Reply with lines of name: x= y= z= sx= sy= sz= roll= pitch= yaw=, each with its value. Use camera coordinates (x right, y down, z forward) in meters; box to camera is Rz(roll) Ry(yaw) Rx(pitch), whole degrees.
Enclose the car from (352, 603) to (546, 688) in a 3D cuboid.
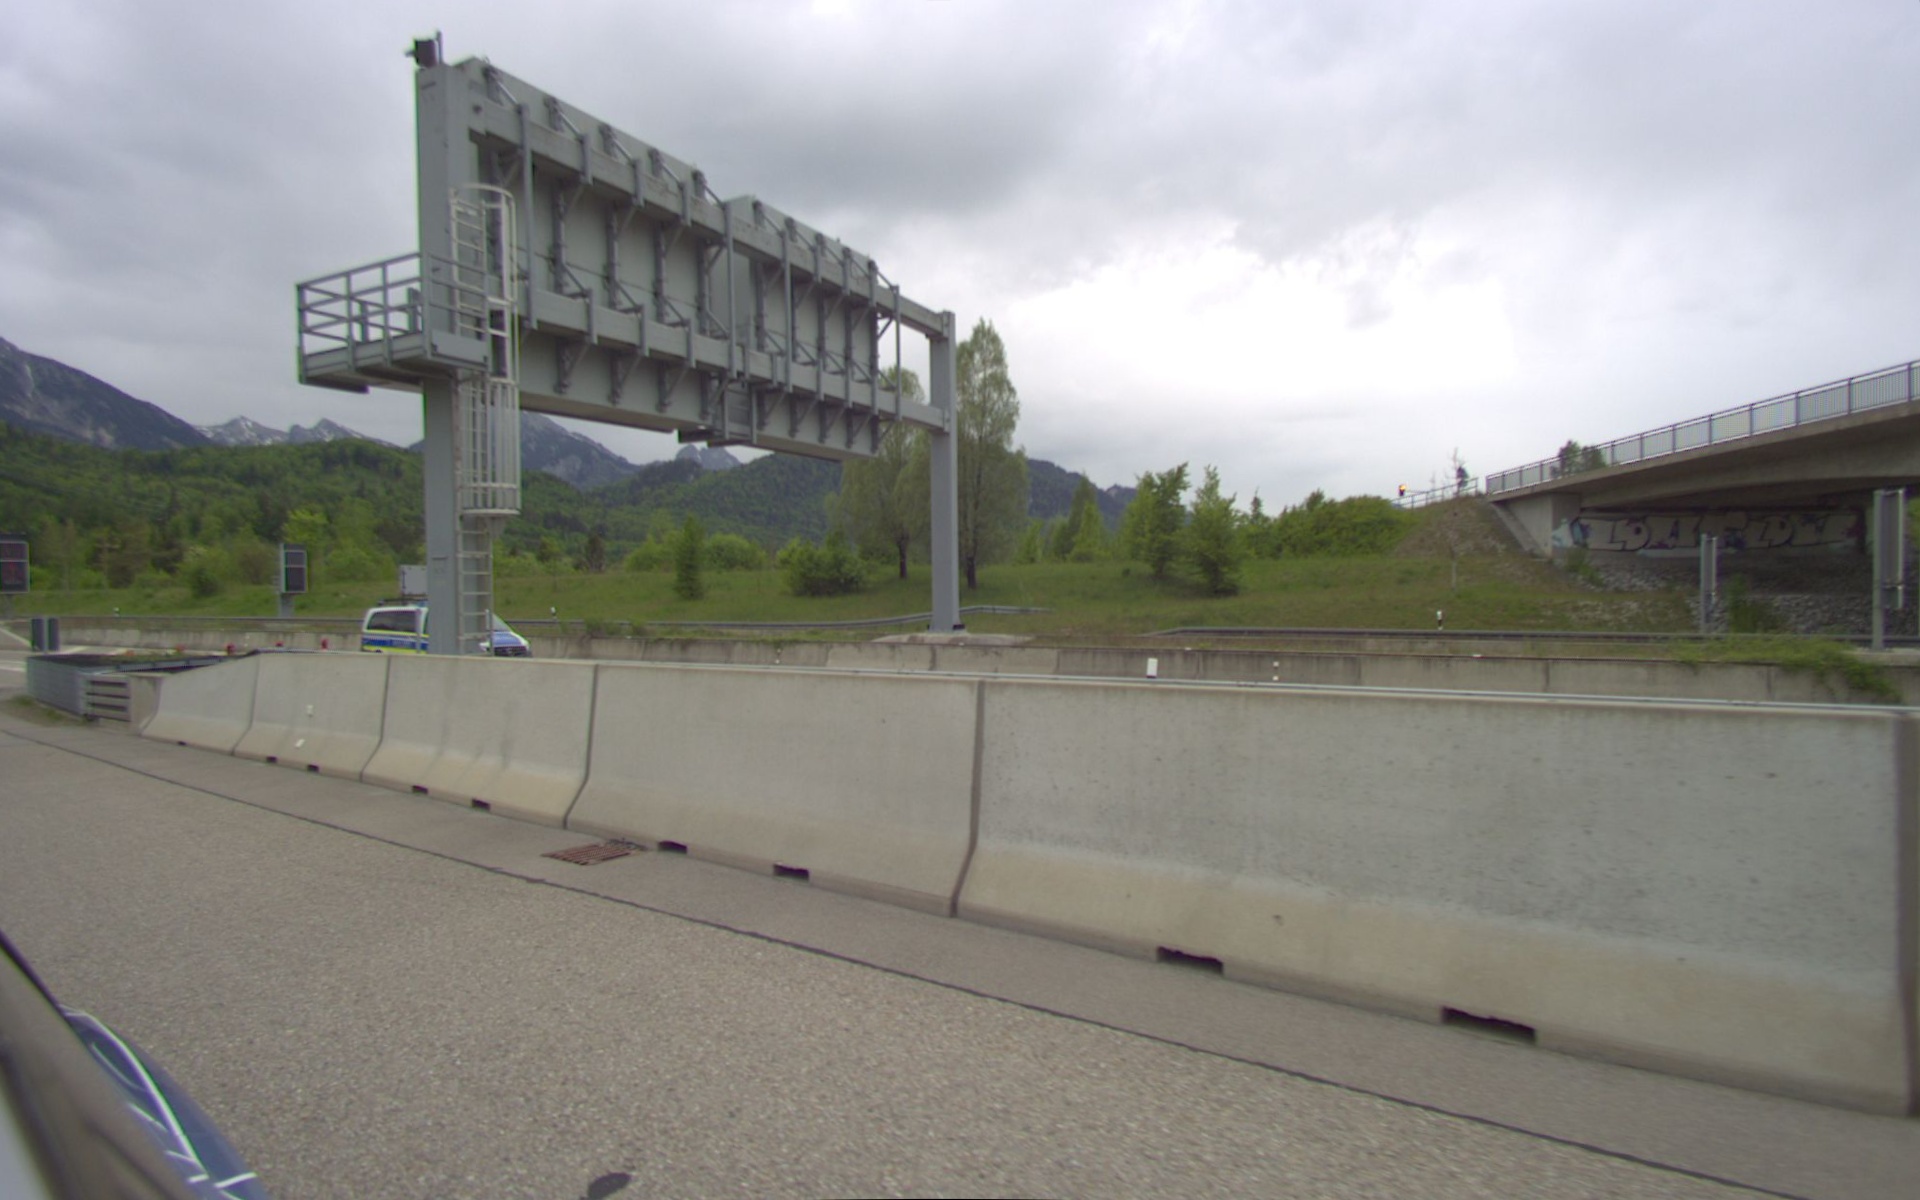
car: x=-13.331 y=1.136 z=26.340 sx=5.030 sy=2.029 sz=2.084 roll=-1 pitch=-1 yaw=29
